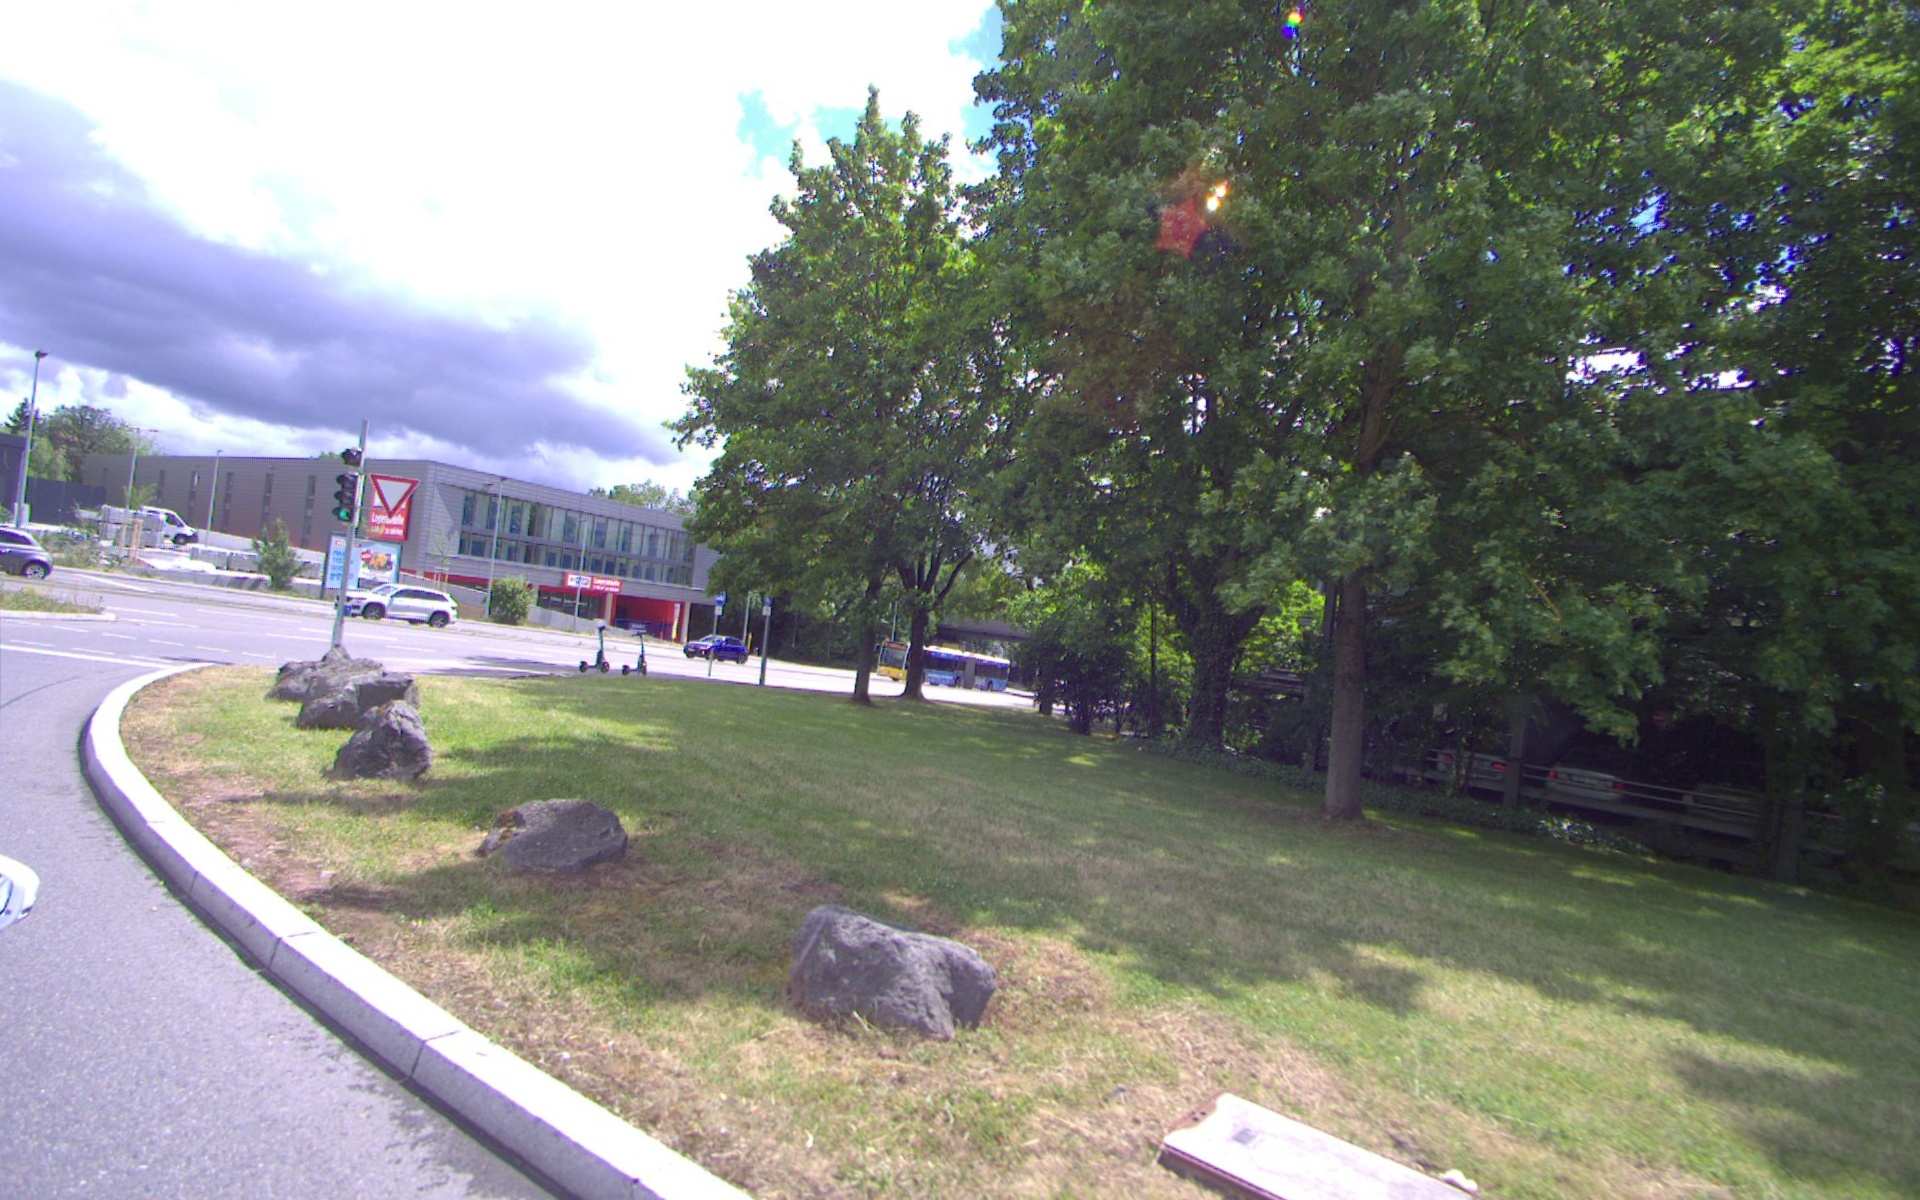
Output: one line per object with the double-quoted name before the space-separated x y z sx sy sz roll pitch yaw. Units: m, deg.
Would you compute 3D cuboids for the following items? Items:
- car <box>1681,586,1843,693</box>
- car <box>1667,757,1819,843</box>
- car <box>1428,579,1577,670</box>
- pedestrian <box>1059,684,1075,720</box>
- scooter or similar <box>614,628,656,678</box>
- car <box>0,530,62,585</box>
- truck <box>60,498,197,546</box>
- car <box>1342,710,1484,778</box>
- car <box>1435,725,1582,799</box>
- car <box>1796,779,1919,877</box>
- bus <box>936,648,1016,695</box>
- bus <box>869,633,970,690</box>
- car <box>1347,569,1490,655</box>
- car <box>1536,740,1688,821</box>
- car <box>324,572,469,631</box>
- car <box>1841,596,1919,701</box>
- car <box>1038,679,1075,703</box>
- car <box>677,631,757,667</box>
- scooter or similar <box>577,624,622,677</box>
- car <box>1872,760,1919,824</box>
"car" 15.877 0.808 19.859 3.678 1.560 1.707 9 1 -41
"car" 16.267 4.082 20.850 3.774 1.307 1.756 9 -2 -42
"car" 12.719 0.606 23.506 3.678 1.560 1.707 9 1 -41
"pedestrian" 5.476 5.196 51.380 0.579 1.740 0.774 6 1 1
"scooter or similar" -8.950 1.468 27.743 0.524 1.278 1.192 6 -3 6
"car" -29.551 -1.424 30.179 1.558 1.478 3.519 7 -1 30
"truck" -53.375 -4.994 64.713 1.974 2.172 6.542 7 0 44
"car" 11.276 3.582 24.952 3.774 1.307 1.756 9 -2 -42
"car" 12.762 3.742 23.323 3.774 1.307 1.756 9 -2 -42
"car" 17.078 4.168 18.705 3.774 1.307 1.756 9 -2 -42
"bus" 1.524 6.264 87.383 2.777 3.198 8.906 7 -3 30
"bus" -2.997 4.948 79.122 2.777 3.319 10.123 7 -4 30
"car" 11.414 0.327 24.974 3.678 1.560 1.707 9 1 -41
"car" 14.185 3.876 21.805 3.774 1.307 1.756 9 -2 -42
"car" -23.171 0.127 41.604 1.704 1.676 4.901 7 -4 29
"car" 17.668 1.002 18.391 3.678 1.560 1.707 9 1 -41
"car" 9.851 9.271 102.572 1.851 1.945 4.750 7 -4 29
"car" -13.981 2.859 58.086 1.780 1.527 4.396 7 -4 31
"scooter or similar" -9.484 1.342 26.489 0.524 1.278 1.192 6 -3 6
"car" 25.316 5.062 26.390 3.756 1.388 1.576 7 0 -42
